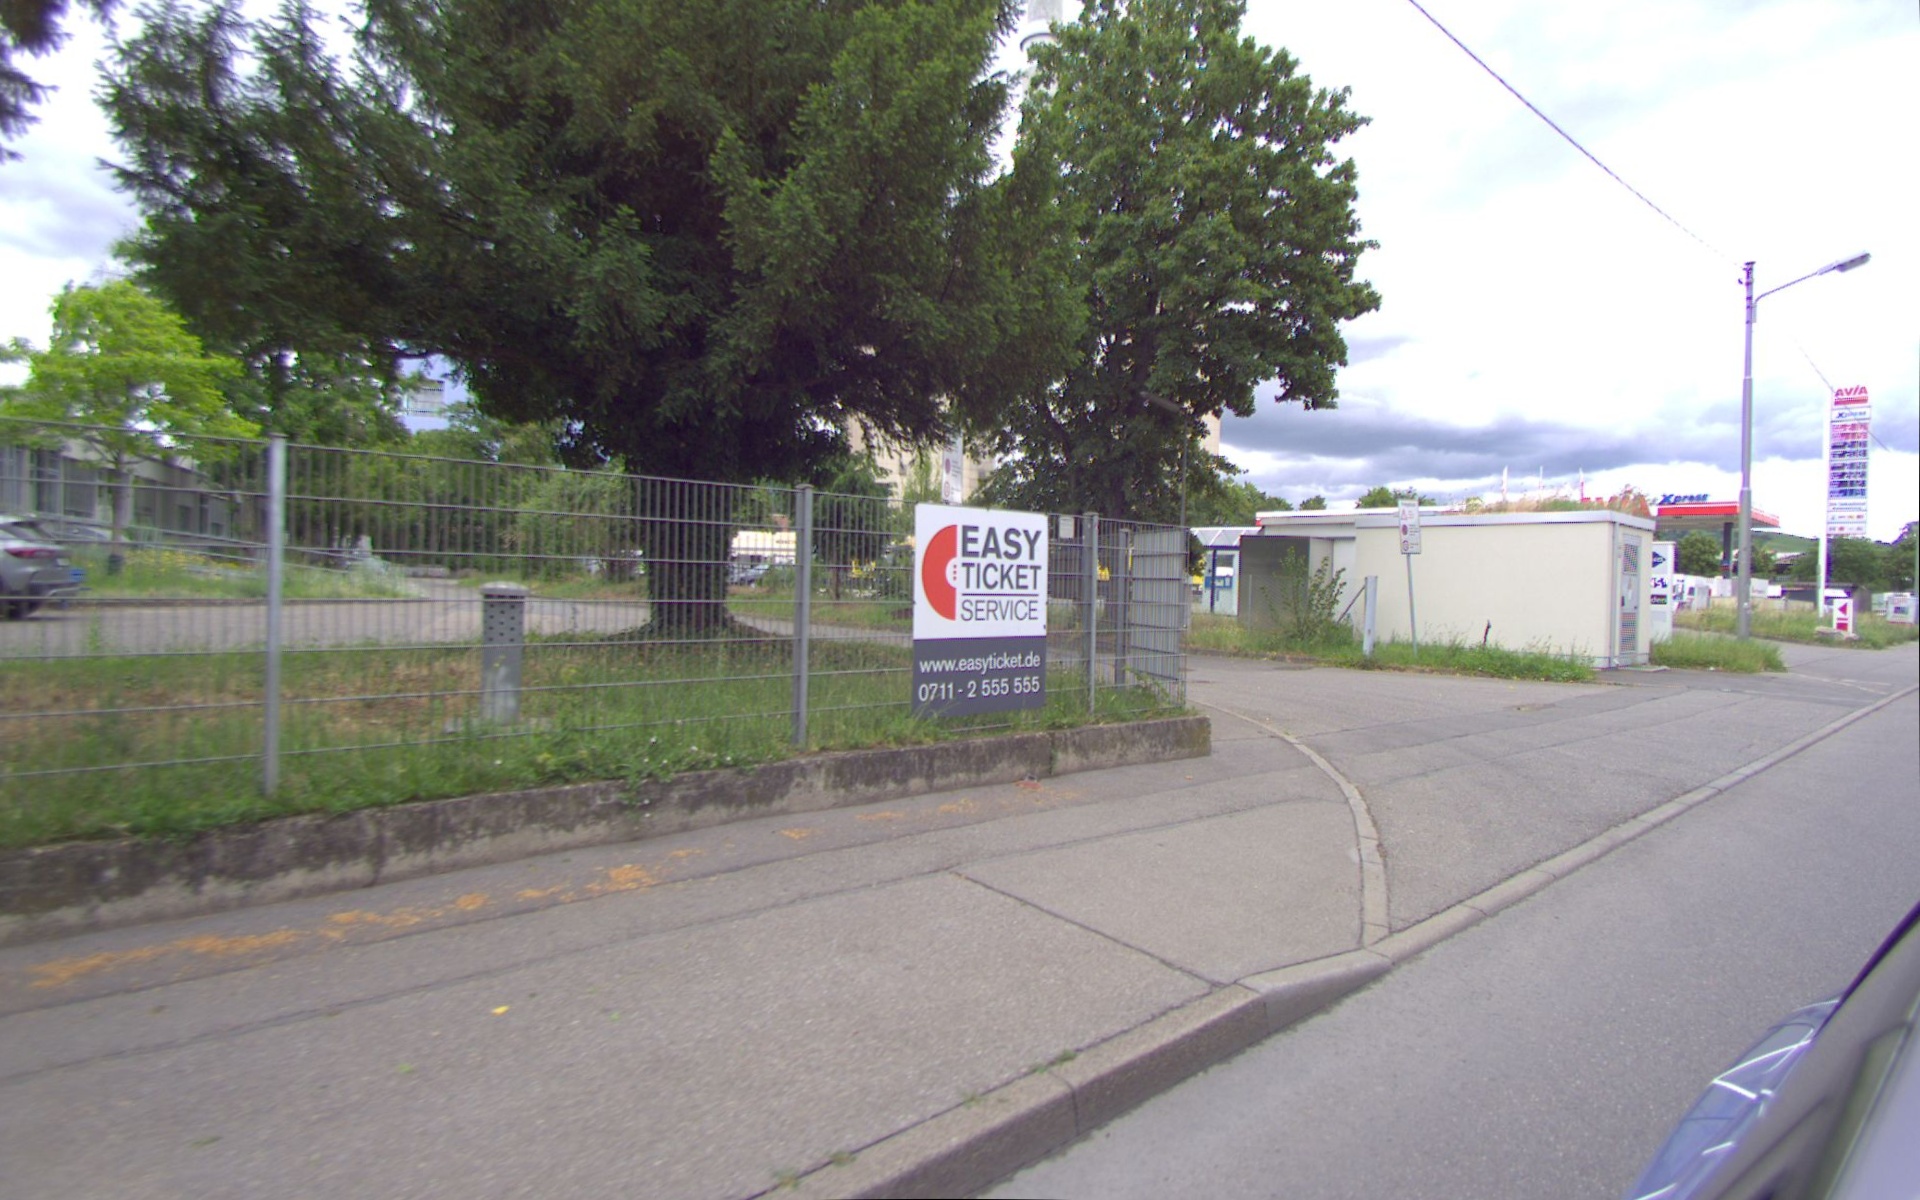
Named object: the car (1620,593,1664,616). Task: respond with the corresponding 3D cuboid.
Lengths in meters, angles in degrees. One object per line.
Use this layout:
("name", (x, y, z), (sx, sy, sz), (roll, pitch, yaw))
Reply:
("car", (51.471, 0.339, 76.310), (4.144, 1.590, 1.768), (1, 2, -43))

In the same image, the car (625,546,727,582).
("car", (-14.325, -1.786, 51.141), (4.575, 1.666, 1.965), (0, 2, -43))

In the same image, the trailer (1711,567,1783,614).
("trailer", (74.146, -0.856, 95.193), (10.217, 4.016, 2.965), (1, 3, -39))

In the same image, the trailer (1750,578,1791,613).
("trailer", (103.023, -0.552, 128.802), (2.821, 4.145, 13.231), (3, 2, 34))

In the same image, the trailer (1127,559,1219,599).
("trailer", (25.890, -2.584, 124.831), (3.484, 4.557, 18.329), (1, 1, -14))

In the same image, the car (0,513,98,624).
("car", (-16.142, -0.569, 15.280), (4.349, 1.632, 2.004), (2, 1, -26))

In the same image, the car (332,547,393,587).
("car", (-25.667, -1.438, 43.404), (1.961, 1.539, 4.444), (2, 2, -34))

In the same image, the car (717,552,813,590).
("car", (-8.648, -1.275, 45.079), (3.816, 1.549, 1.736), (1, 2, -41))

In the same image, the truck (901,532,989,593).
("truck", (-1.070, -2.738, 75.625), (5.939, 4.315, 3.048), (1, 2, -43))

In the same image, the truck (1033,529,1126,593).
("truck", (8.004, -2.547, 67.352), (5.939, 3.963, 2.961), (1, 2, -43))

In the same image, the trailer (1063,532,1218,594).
("trailer", (13.180, -2.506, 72.214), (14.060, 3.963, 3.004), (1, 2, -43))

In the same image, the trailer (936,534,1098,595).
("trailer", (4.875, -2.710, 81.159), (15.459, 4.313, 3.024), (1, 2, -43))

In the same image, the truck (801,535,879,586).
("truck", (-9.865, -3.247, 83.638), (5.939, 3.963, 2.694), (1, 2, -43))

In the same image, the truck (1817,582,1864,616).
("truck", (110.713, -0.143, 127.395), (2.849, 4.145, 6.689), (3, 1, 28))

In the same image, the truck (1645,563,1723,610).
("truck", (68.391, -1.222, 95.430), (12.843, 4.016, 3.081), (1, 3, -42))

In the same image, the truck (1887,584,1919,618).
("truck", (121.132, 0.159, 129.247), (2.855, 4.063, 6.676), (3, 1, 33))

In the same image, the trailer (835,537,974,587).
("trailer", (-4.599, -3.217, 88.569), (13.457, 3.963, 2.694), (1, 2, -43))

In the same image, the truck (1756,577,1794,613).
("truck", (99.629, -0.588, 123.780), (2.856, 4.145, 6.673), (3, 1, 34))

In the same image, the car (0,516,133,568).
("car", (-30.347, -1.941, 33.670), (3.978, 1.539, 1.915), (2, 1, -22))

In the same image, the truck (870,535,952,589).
("truck", (-3.790, -2.904, 78.386), (5.939, 3.963, 2.694), (1, 2, -43))
